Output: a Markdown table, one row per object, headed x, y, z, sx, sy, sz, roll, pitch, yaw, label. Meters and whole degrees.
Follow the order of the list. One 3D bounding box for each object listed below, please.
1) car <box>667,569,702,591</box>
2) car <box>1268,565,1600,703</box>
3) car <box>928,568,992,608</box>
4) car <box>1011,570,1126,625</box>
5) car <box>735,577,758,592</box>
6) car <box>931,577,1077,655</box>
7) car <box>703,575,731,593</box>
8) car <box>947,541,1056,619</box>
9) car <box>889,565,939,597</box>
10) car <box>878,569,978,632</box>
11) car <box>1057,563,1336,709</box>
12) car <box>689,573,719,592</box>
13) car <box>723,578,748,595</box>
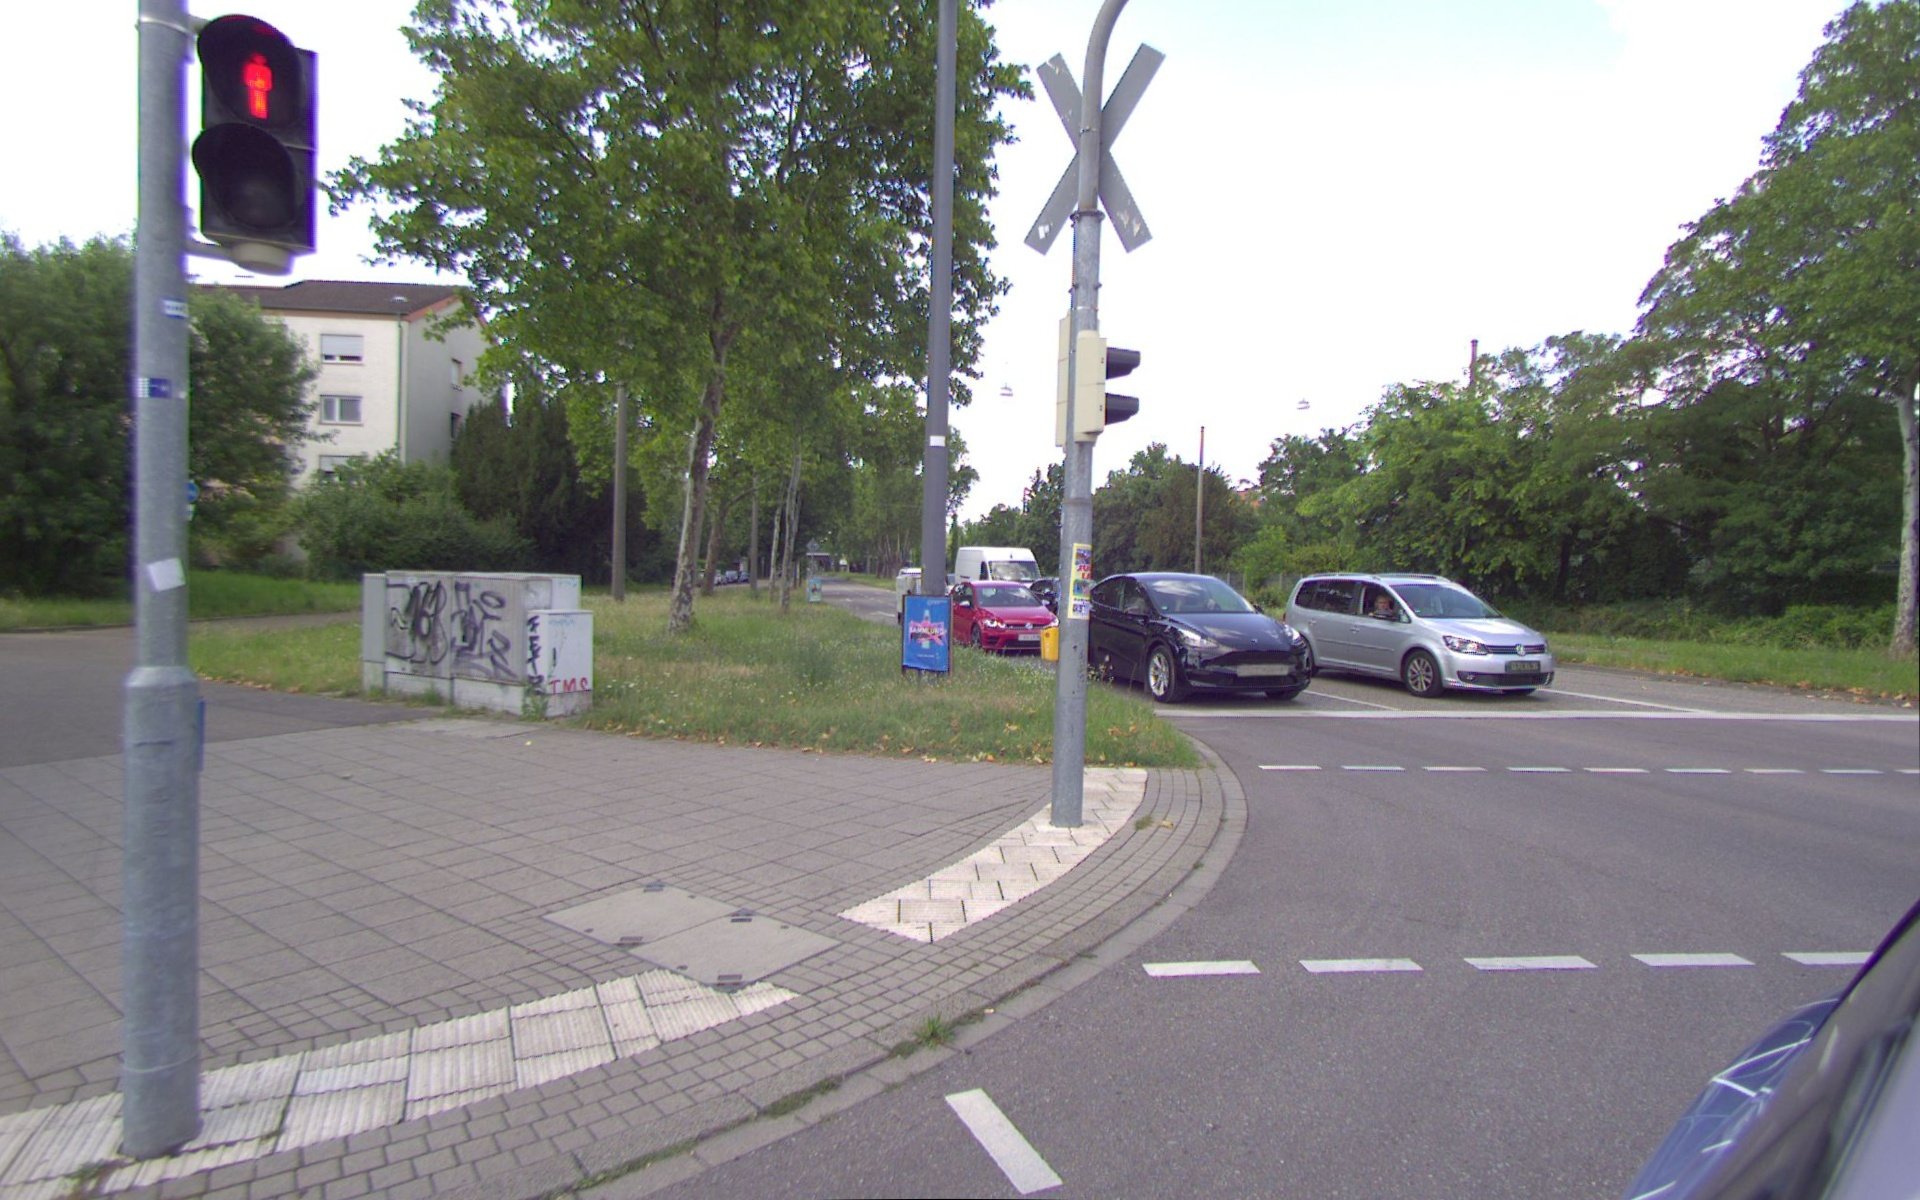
| x | y | z | sx | sy | sz | roll | pitch | yaw | label |
| --- | --- | --- | --- | --- | --- | --- | --- | --- | --- |
| -22.141 | -1.577 | 81.489 | 1.743 | 1.616 | 3.655 | 1 | -1 | 0 | car |
| 6.591 | 0.330 | 14.756 | 1.890 | 1.672 | 4.513 | -1 | 2 | -16 | car |
| -0.060 | -0.570 | 44.349 | 1.805 | 1.638 | 4.166 | 0 | 2 | -14 | car |
| 2.967 | -0.129 | 28.556 | 1.728 | 1.392 | 4.354 | -1 | 2 | -16 | car |
| -23.999 | -1.692 | 113.823 | 1.743 | 1.616 | 3.655 | 1 | -1 | 0 | car |
| 0.796 | 0.244 | 21.525 | 1.764 | 1.408 | 4.513 | -1 | 2 | -16 | car |
| -22.752 | -1.485 | 94.925 | 1.743 | 1.616 | 3.655 | 1 | -1 | 0 | car |
| 1.342 | -0.773 | 36.383 | 2.181 | 2.561 | 5.947 | -1 | 2 | -16 | car |
| -2.577 | -1.062 | 55.510 | 1.727 | 1.667 | 4.354 | 1 | 2 | -16 | car |
| -1.001 | -0.056 | 28.655 | 1.764 | 1.589 | 4.513 | -1 | 2 | -16 | car |
| 3.022 | 0.326 | 14.106 | 1.891 | 1.672 | 4.590 | -1 | 2 | -14 | car |
| -22.908 | -1.520 | 90.591 | 1.743 | 1.616 | 3.655 | 1 | -1 | 0 | car |
| -23.463 | -1.413 | 105.936 | 1.743 | 1.616 | 3.655 | 1 | -1 | 0 | car |
